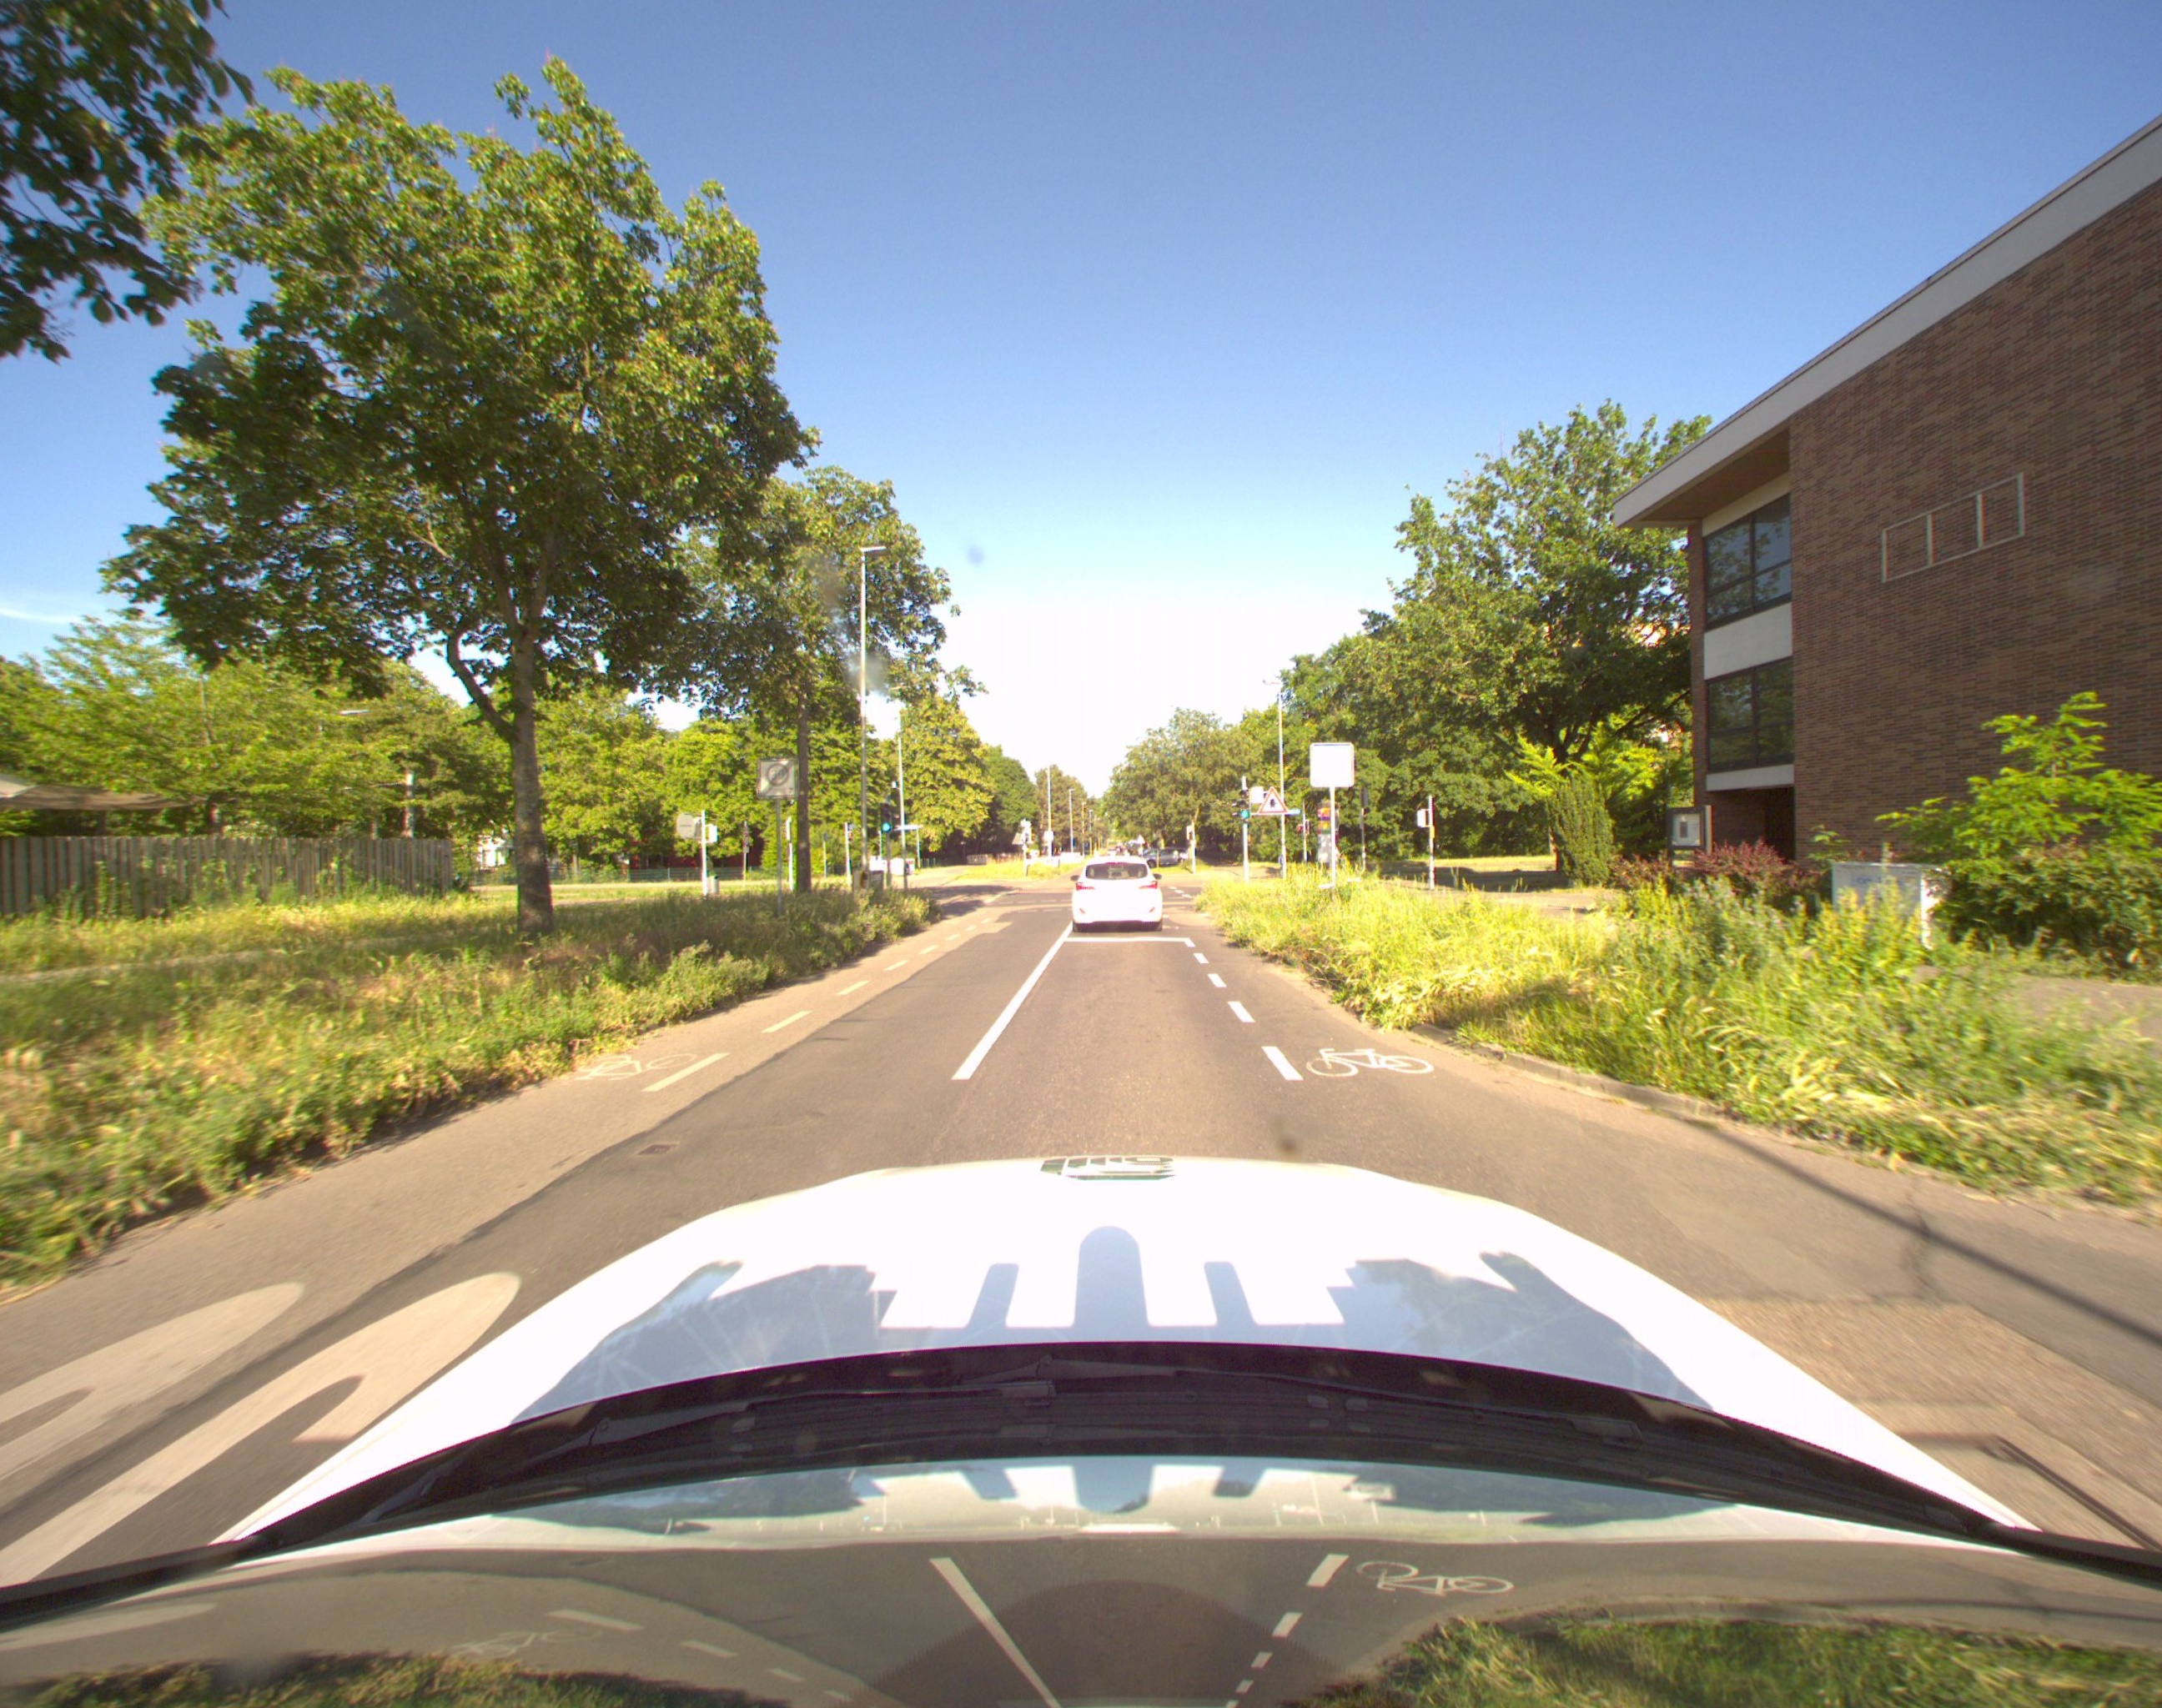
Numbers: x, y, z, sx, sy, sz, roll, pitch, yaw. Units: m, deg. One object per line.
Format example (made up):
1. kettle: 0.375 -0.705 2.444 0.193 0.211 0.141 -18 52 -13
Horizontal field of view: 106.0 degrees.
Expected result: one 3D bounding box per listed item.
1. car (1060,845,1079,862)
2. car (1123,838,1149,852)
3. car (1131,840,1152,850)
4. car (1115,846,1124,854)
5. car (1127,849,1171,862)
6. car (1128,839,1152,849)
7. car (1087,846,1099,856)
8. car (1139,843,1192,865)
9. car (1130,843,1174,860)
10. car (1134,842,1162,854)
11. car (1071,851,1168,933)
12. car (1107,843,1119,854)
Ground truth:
1. car: -1.331 -0.053 96.053 1.985 1.815 4.004 0 2 3
2. car: 8.352 -1.397 123.709 3.804 2.098 1.865 0 0 2
3. car: 11.014 -1.636 147.812 3.804 1.767 1.865 0 0 2
4. car: 8.495 -0.951 181.065 1.985 1.816 4.003 0 0 3
5. car: 8.902 0.196 107.044 5.591 1.684 1.949 0 0 2
6. car: 10.941 -1.817 150.968 4.284 1.907 1.865 0 0 2
7. car: 2.157 -0.551 144.224 1.985 1.816 4.003 0 0 3
8. car: 7.422 0.015 71.611 4.477 1.783 1.857 -1 0 5
9. car: 7.309 -0.248 83.741 4.477 1.629 1.857 -1 0 5
10. car: 9.313 -0.847 113.621 3.804 1.684 1.865 0 0 2
11. car: 0.766 0.713 17.267 1.783 1.463 3.964 -1 1 1
12. car: 5.502 -0.924 141.366 1.985 1.815 4.003 1 0 3
